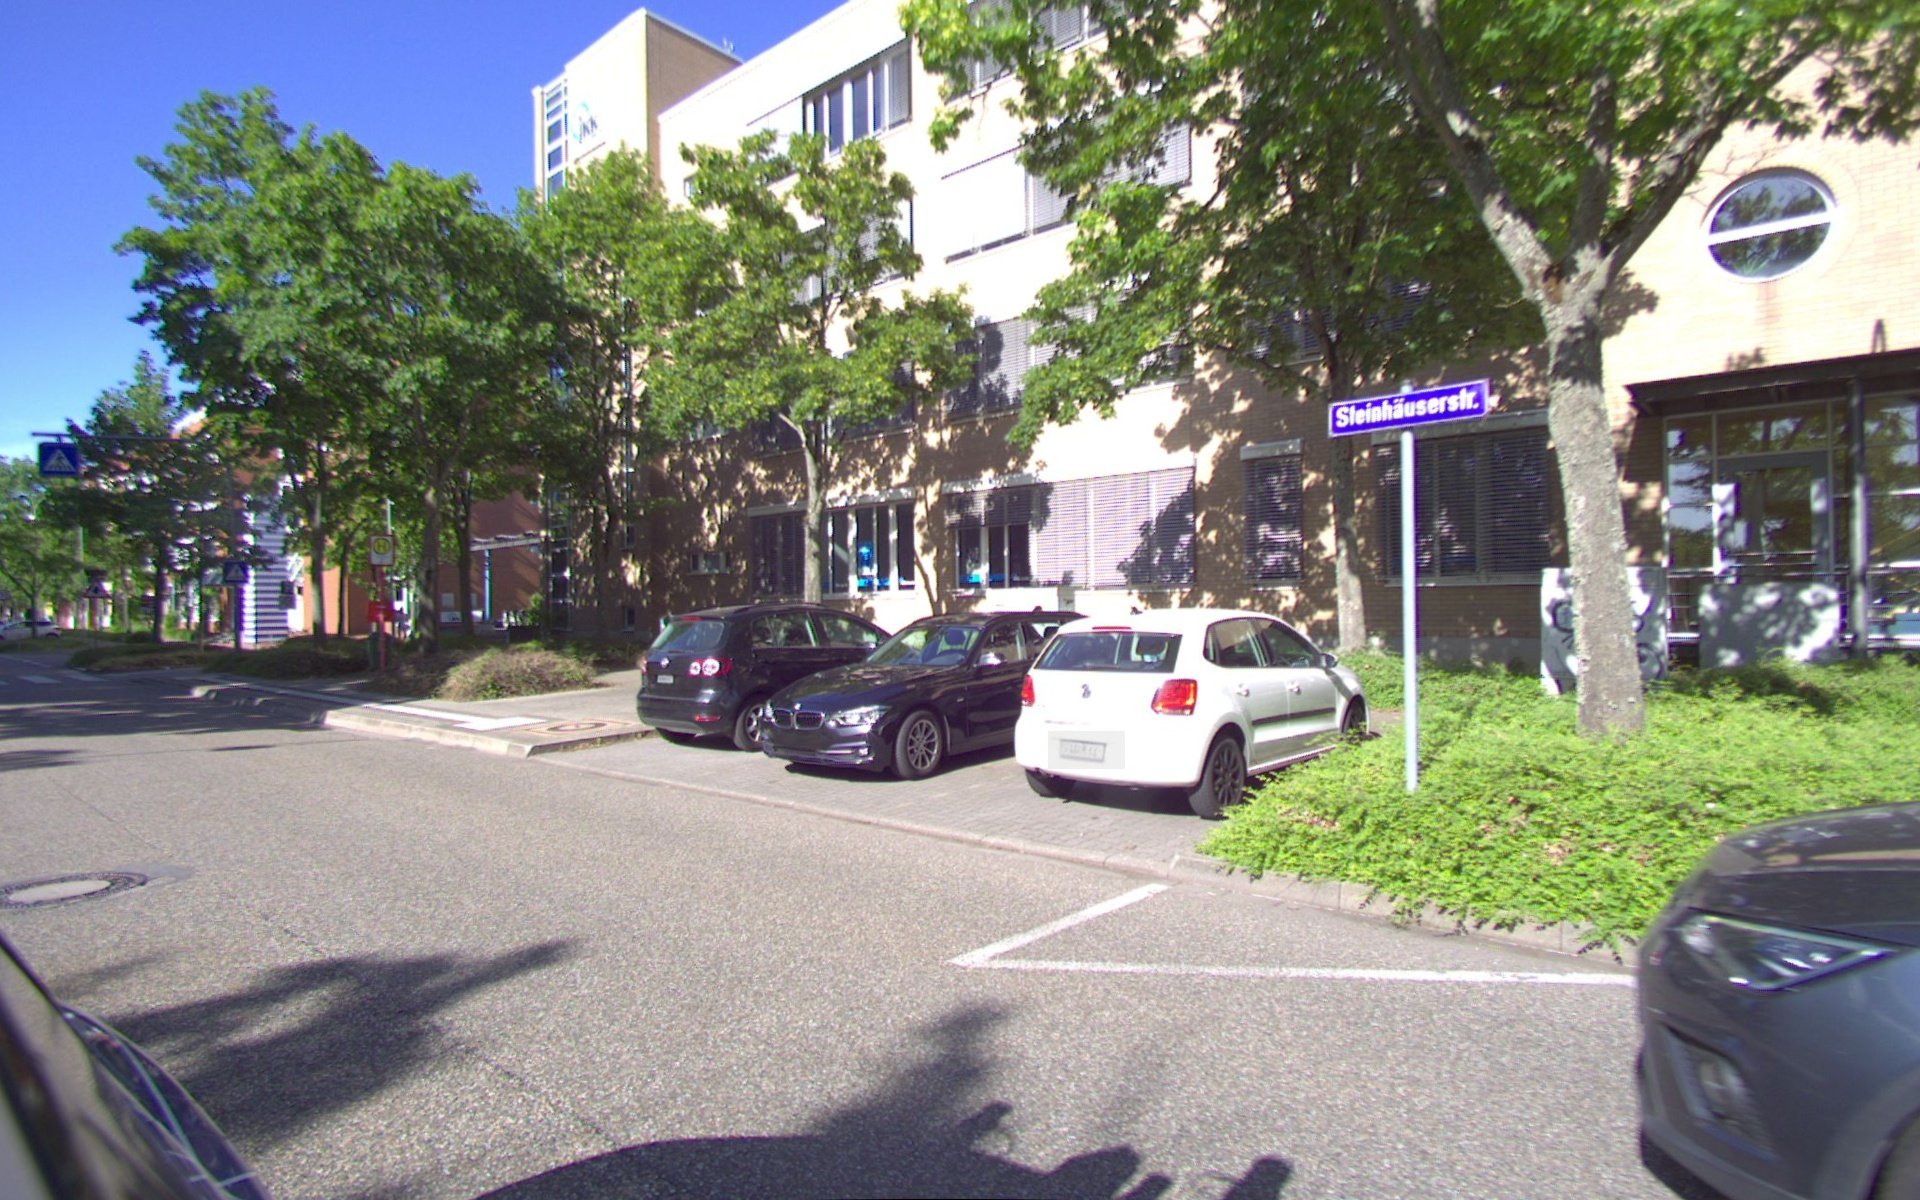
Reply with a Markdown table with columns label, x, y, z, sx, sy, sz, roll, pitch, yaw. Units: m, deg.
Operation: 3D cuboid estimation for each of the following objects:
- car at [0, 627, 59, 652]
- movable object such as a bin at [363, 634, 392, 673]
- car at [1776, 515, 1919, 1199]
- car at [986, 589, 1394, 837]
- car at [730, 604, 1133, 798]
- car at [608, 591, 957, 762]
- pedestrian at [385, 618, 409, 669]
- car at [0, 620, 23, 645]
| label | x | y | z | sx | sy | sz | roll | pitch | yaw |
| --- | --- | --- | --- | --- | --- | --- | --- | --- | --- |
| car | -57.878 | 2.429 | 61.921 | 1.617 | 1.430 | 3.953 | -1 | 0 | 40 |
| movable object such as a bin | -11.558 | 1.059 | 20.081 | 0.436 | 0.736 | 0.409 | -2 | 1 | -37 |
| car | 3.573 | 0.581 | 1.180 | 3.998 | 1.523 | 1.761 | -1 | -1 | 41 |
| car | 2.078 | 0.717 | 8.391 | 1.753 | 1.463 | 3.716 | -1 | 1 | 41 |
| car | -0.095 | 0.837 | 10.332 | 1.800 | 1.413 | 4.109 | -1 | 1 | 41 |
| car | -1.998 | 0.778 | 12.315 | 1.727 | 1.582 | 3.947 | -1 | 1 | 40 |
| pedestrian | -23.164 | 1.778 | 41.652 | 0.673 | 1.930 | 0.615 | 15 | 11 | 41 |
| car | -74.662 | 2.499 | 76.693 | 2.000 | 1.901 | 5.247 | -1 | -2 | 42 |
